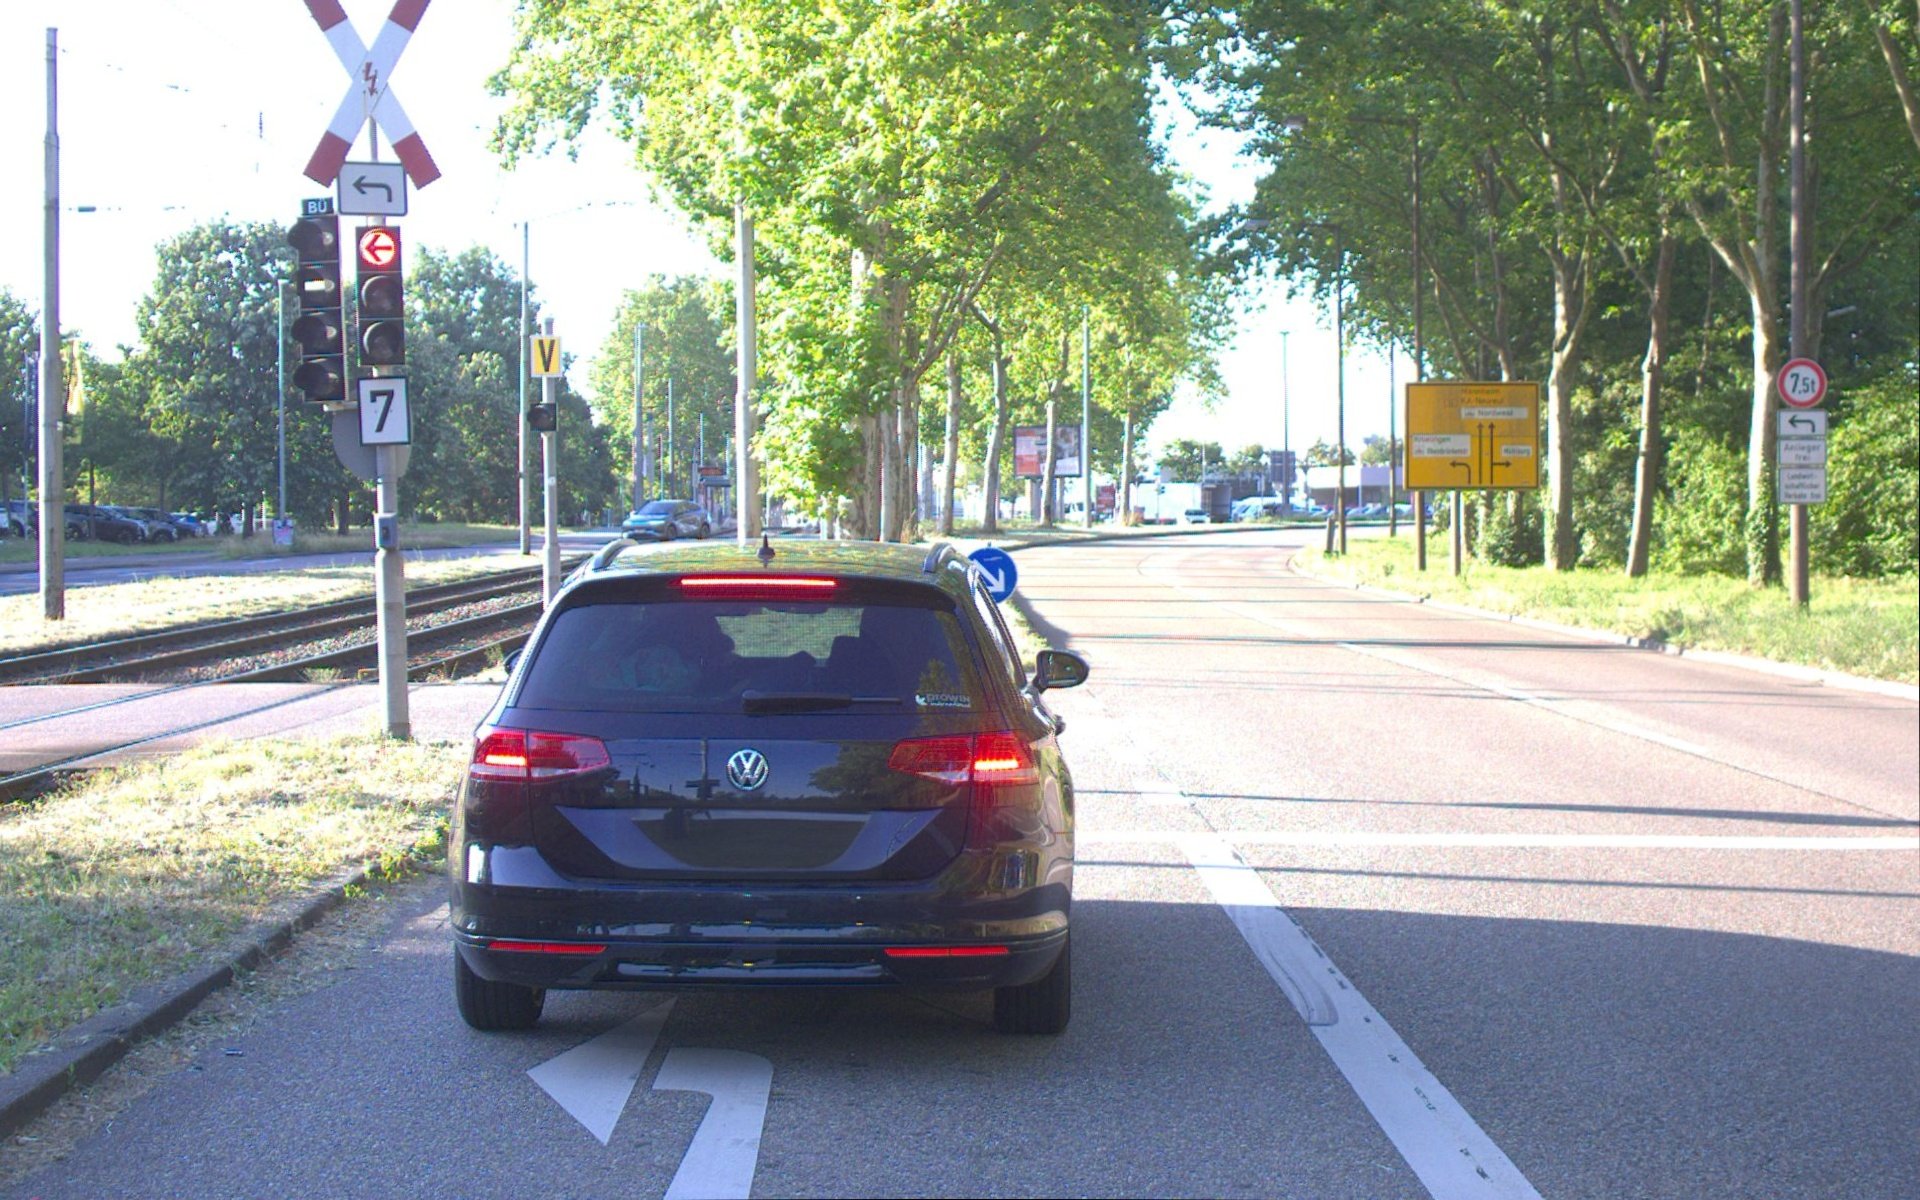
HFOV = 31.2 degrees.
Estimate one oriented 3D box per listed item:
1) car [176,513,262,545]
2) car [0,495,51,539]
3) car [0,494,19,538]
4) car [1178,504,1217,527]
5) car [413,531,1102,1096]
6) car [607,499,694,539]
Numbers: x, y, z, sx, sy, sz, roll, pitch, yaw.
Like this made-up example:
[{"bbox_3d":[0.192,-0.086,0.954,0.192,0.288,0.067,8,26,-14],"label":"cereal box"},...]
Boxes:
[{"bbox_3d":[-37.112,-3.541,172.293,3.986,1.550,1.744,0,1,-4],"label":"car"},{"bbox_3d":[-36.384,-3.122,129.314,3.986,1.615,1.744,0,1,-5],"label":"car"},{"bbox_3d":[-36.722,-3.098,126.101,3.986,1.615,1.744,0,1,-5],"label":"car"},{"bbox_3d":[15.870,-5.633,230.070,1.861,1.476,4.092,0,1,-6],"label":"car"},{"bbox_3d":[-0.570,0.529,10.853,1.795,1.459,3.583,1,1,-1],"label":"car"},{"bbox_3d":[-11.839,-3.122,131.735,1.863,1.476,4.168,1,2,18],"label":"car"}]
